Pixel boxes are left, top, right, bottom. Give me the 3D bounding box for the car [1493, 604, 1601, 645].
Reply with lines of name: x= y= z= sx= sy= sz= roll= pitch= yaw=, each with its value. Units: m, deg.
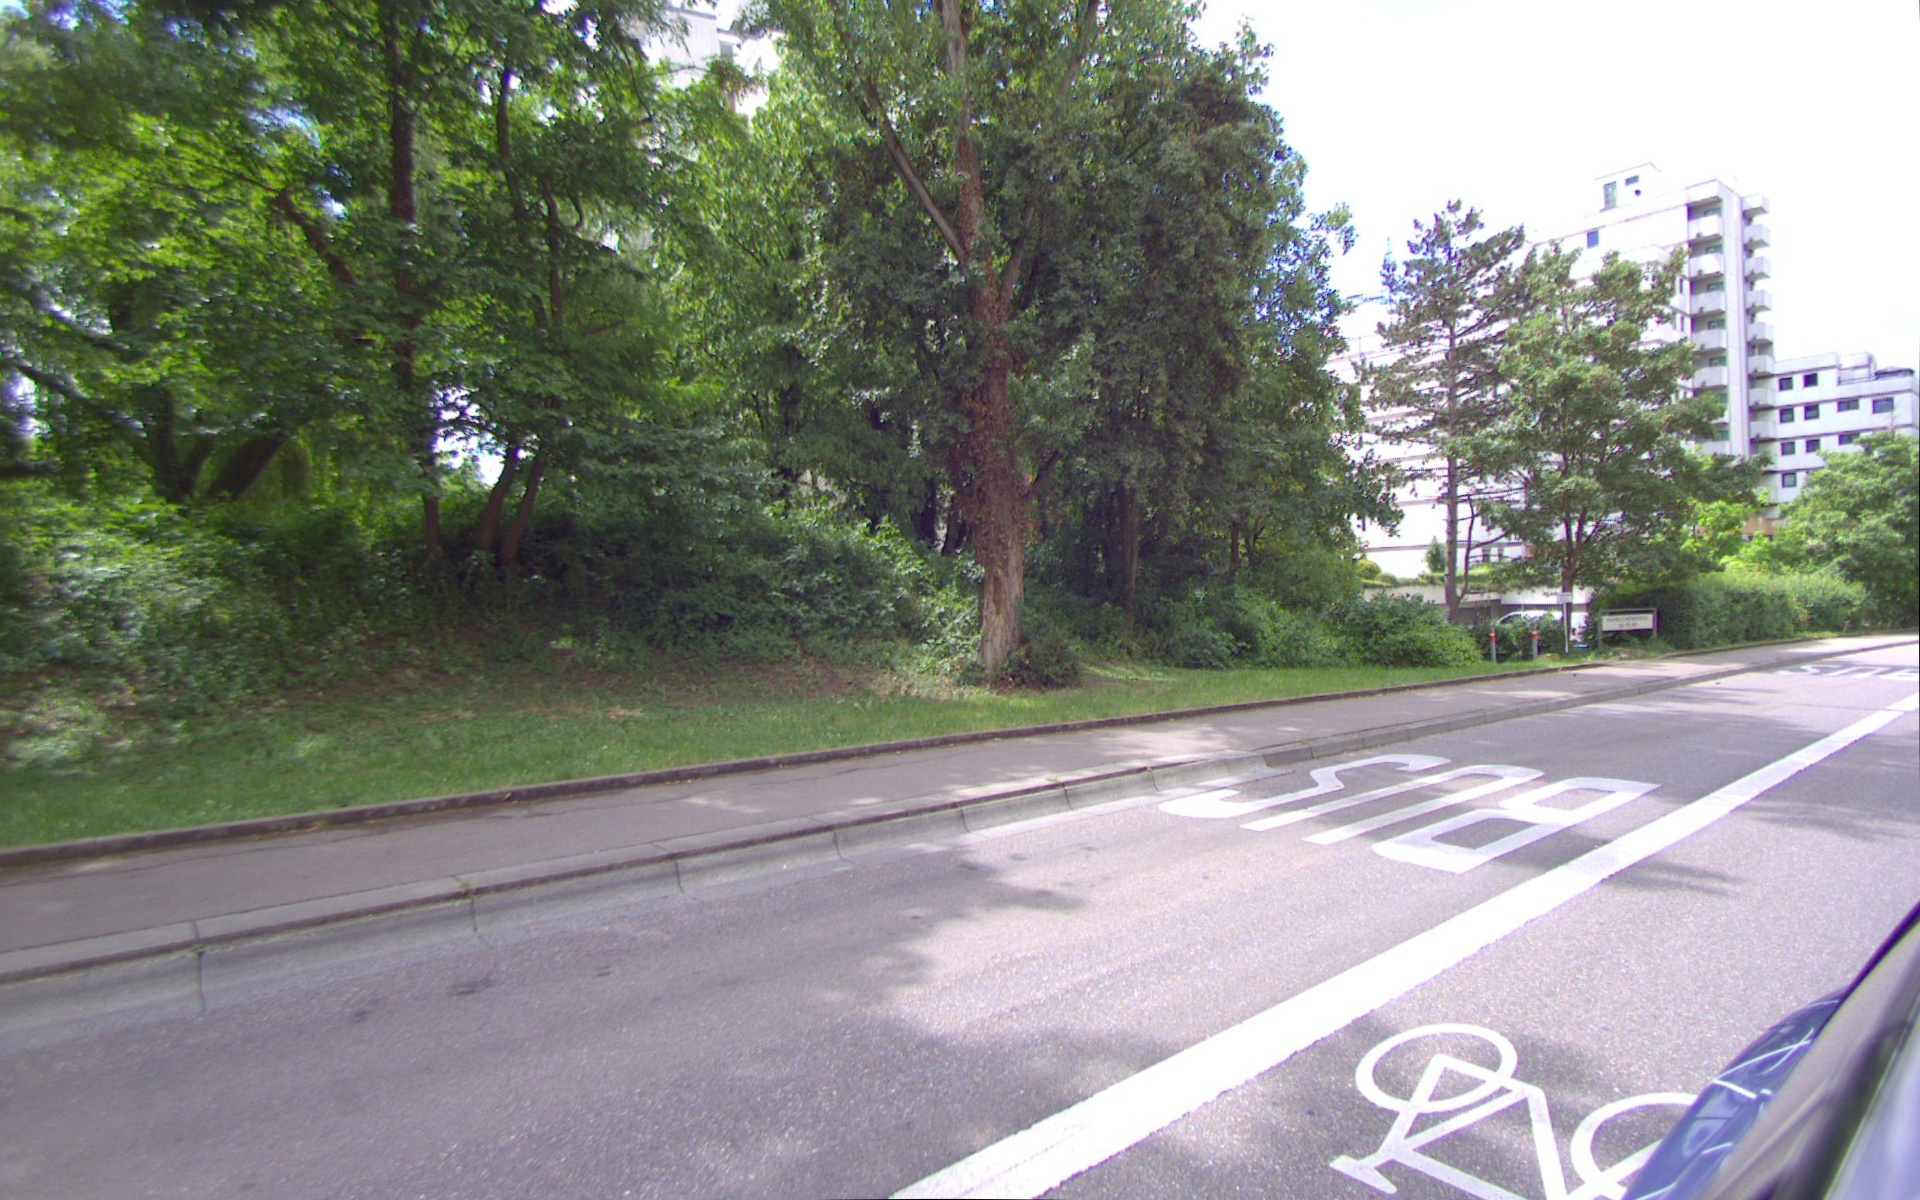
car: x=31.041 y=1.227 z=53.640 sx=1.962 sy=2.039 sz=4.549 roll=-1 pitch=0 yaw=-34
